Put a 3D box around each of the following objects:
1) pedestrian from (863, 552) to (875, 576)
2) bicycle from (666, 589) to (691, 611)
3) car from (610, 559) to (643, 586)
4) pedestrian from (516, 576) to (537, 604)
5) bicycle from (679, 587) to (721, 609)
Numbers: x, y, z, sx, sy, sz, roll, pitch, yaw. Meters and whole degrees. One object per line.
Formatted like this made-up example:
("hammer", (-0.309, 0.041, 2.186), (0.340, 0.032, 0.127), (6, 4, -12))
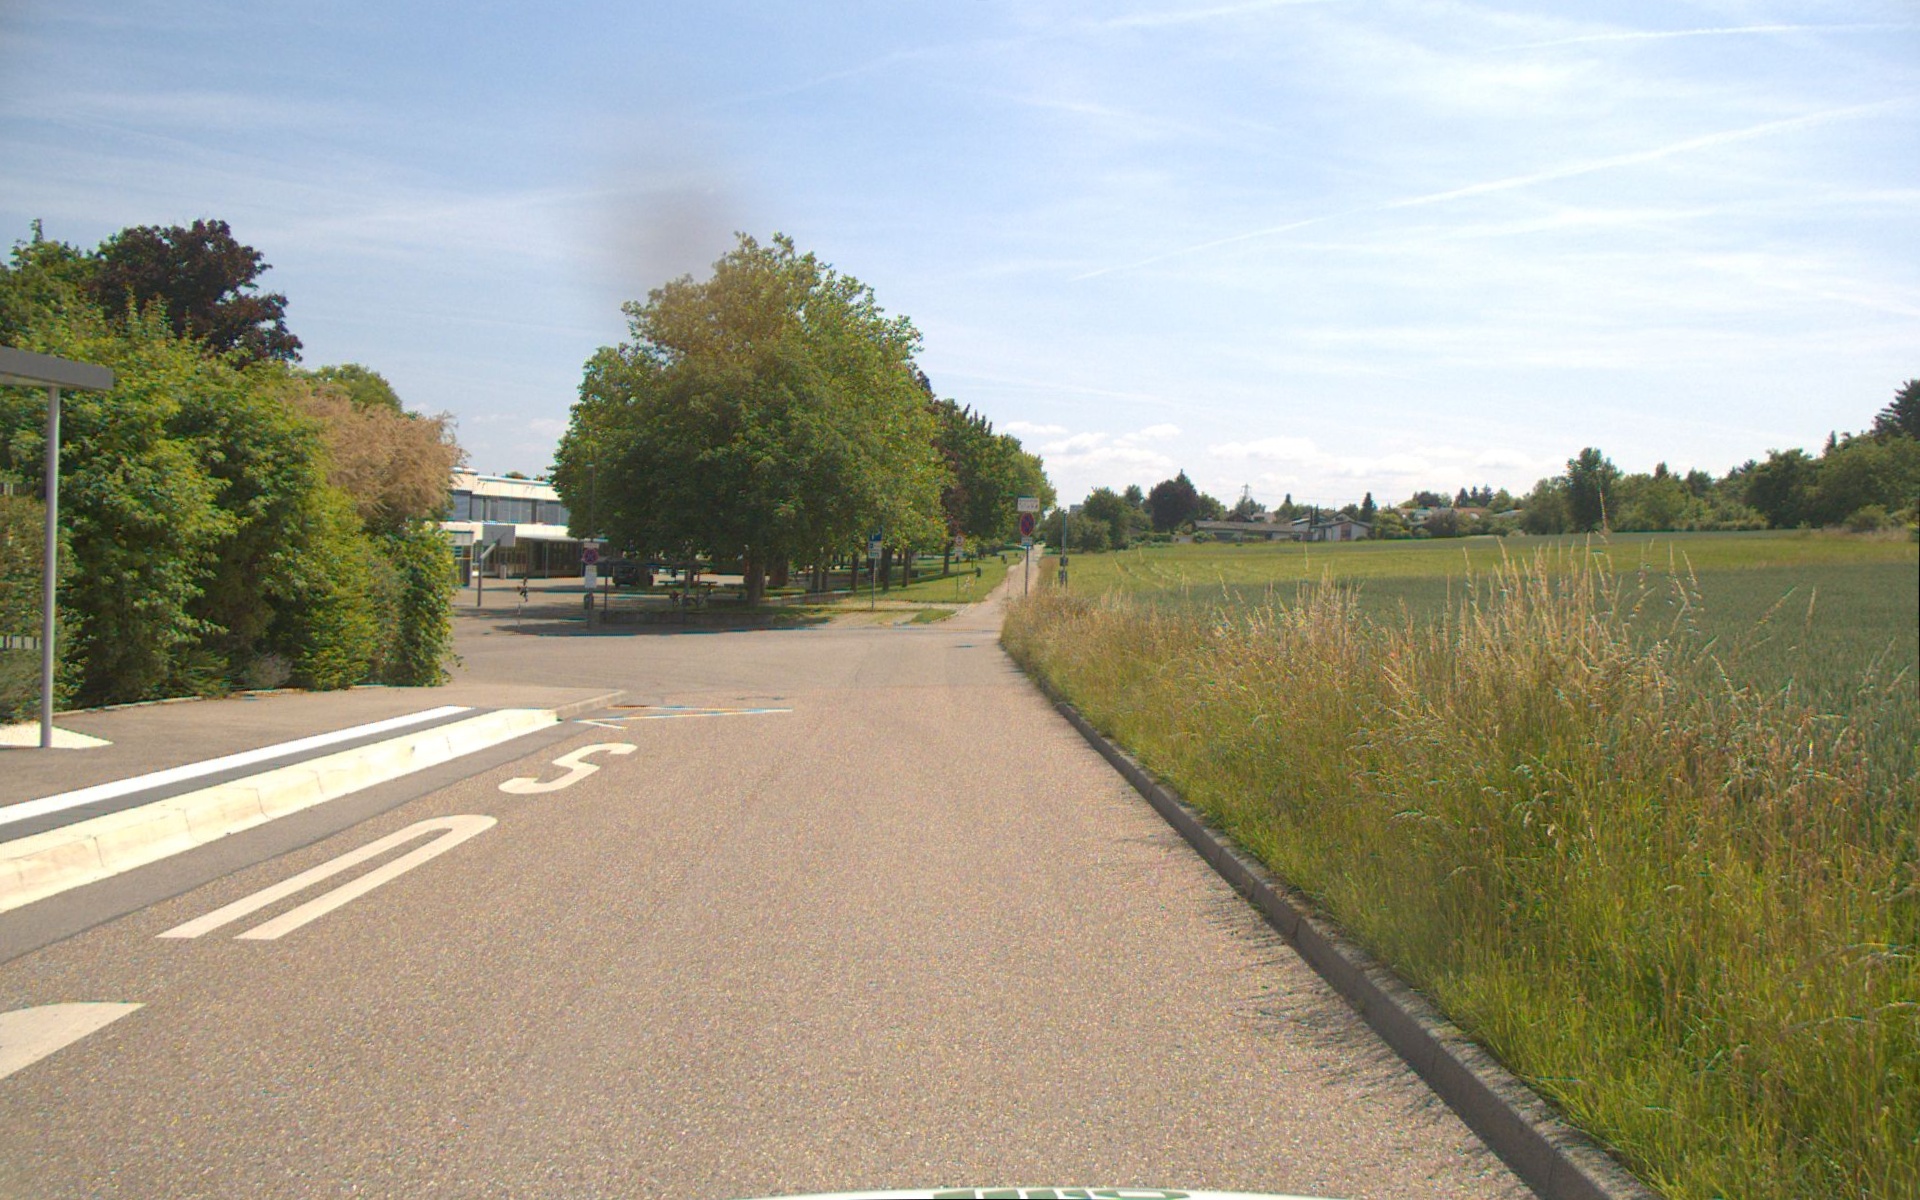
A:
("pedestrian", (-7.707, -3.065, 139.765), (0.675, 2.049, 0.795), (0, 1, -30))
("bicycle", (-13.654, -0.009, 80.160), (0.582, 1.057, 1.895), (0, 1, 10))
("car", (-24.043, -2.004, 119.372), (1.656, 1.866, 3.411), (0, 1, 0))
("pedestrian", (-22.849, -0.536, 87.163), (1.048, 1.448, 0.916), (1, 1, -15))
("bicycle", (-12.901, -0.100, 82.222), (2.022, 1.057, 0.571), (-1, 1, -6))
